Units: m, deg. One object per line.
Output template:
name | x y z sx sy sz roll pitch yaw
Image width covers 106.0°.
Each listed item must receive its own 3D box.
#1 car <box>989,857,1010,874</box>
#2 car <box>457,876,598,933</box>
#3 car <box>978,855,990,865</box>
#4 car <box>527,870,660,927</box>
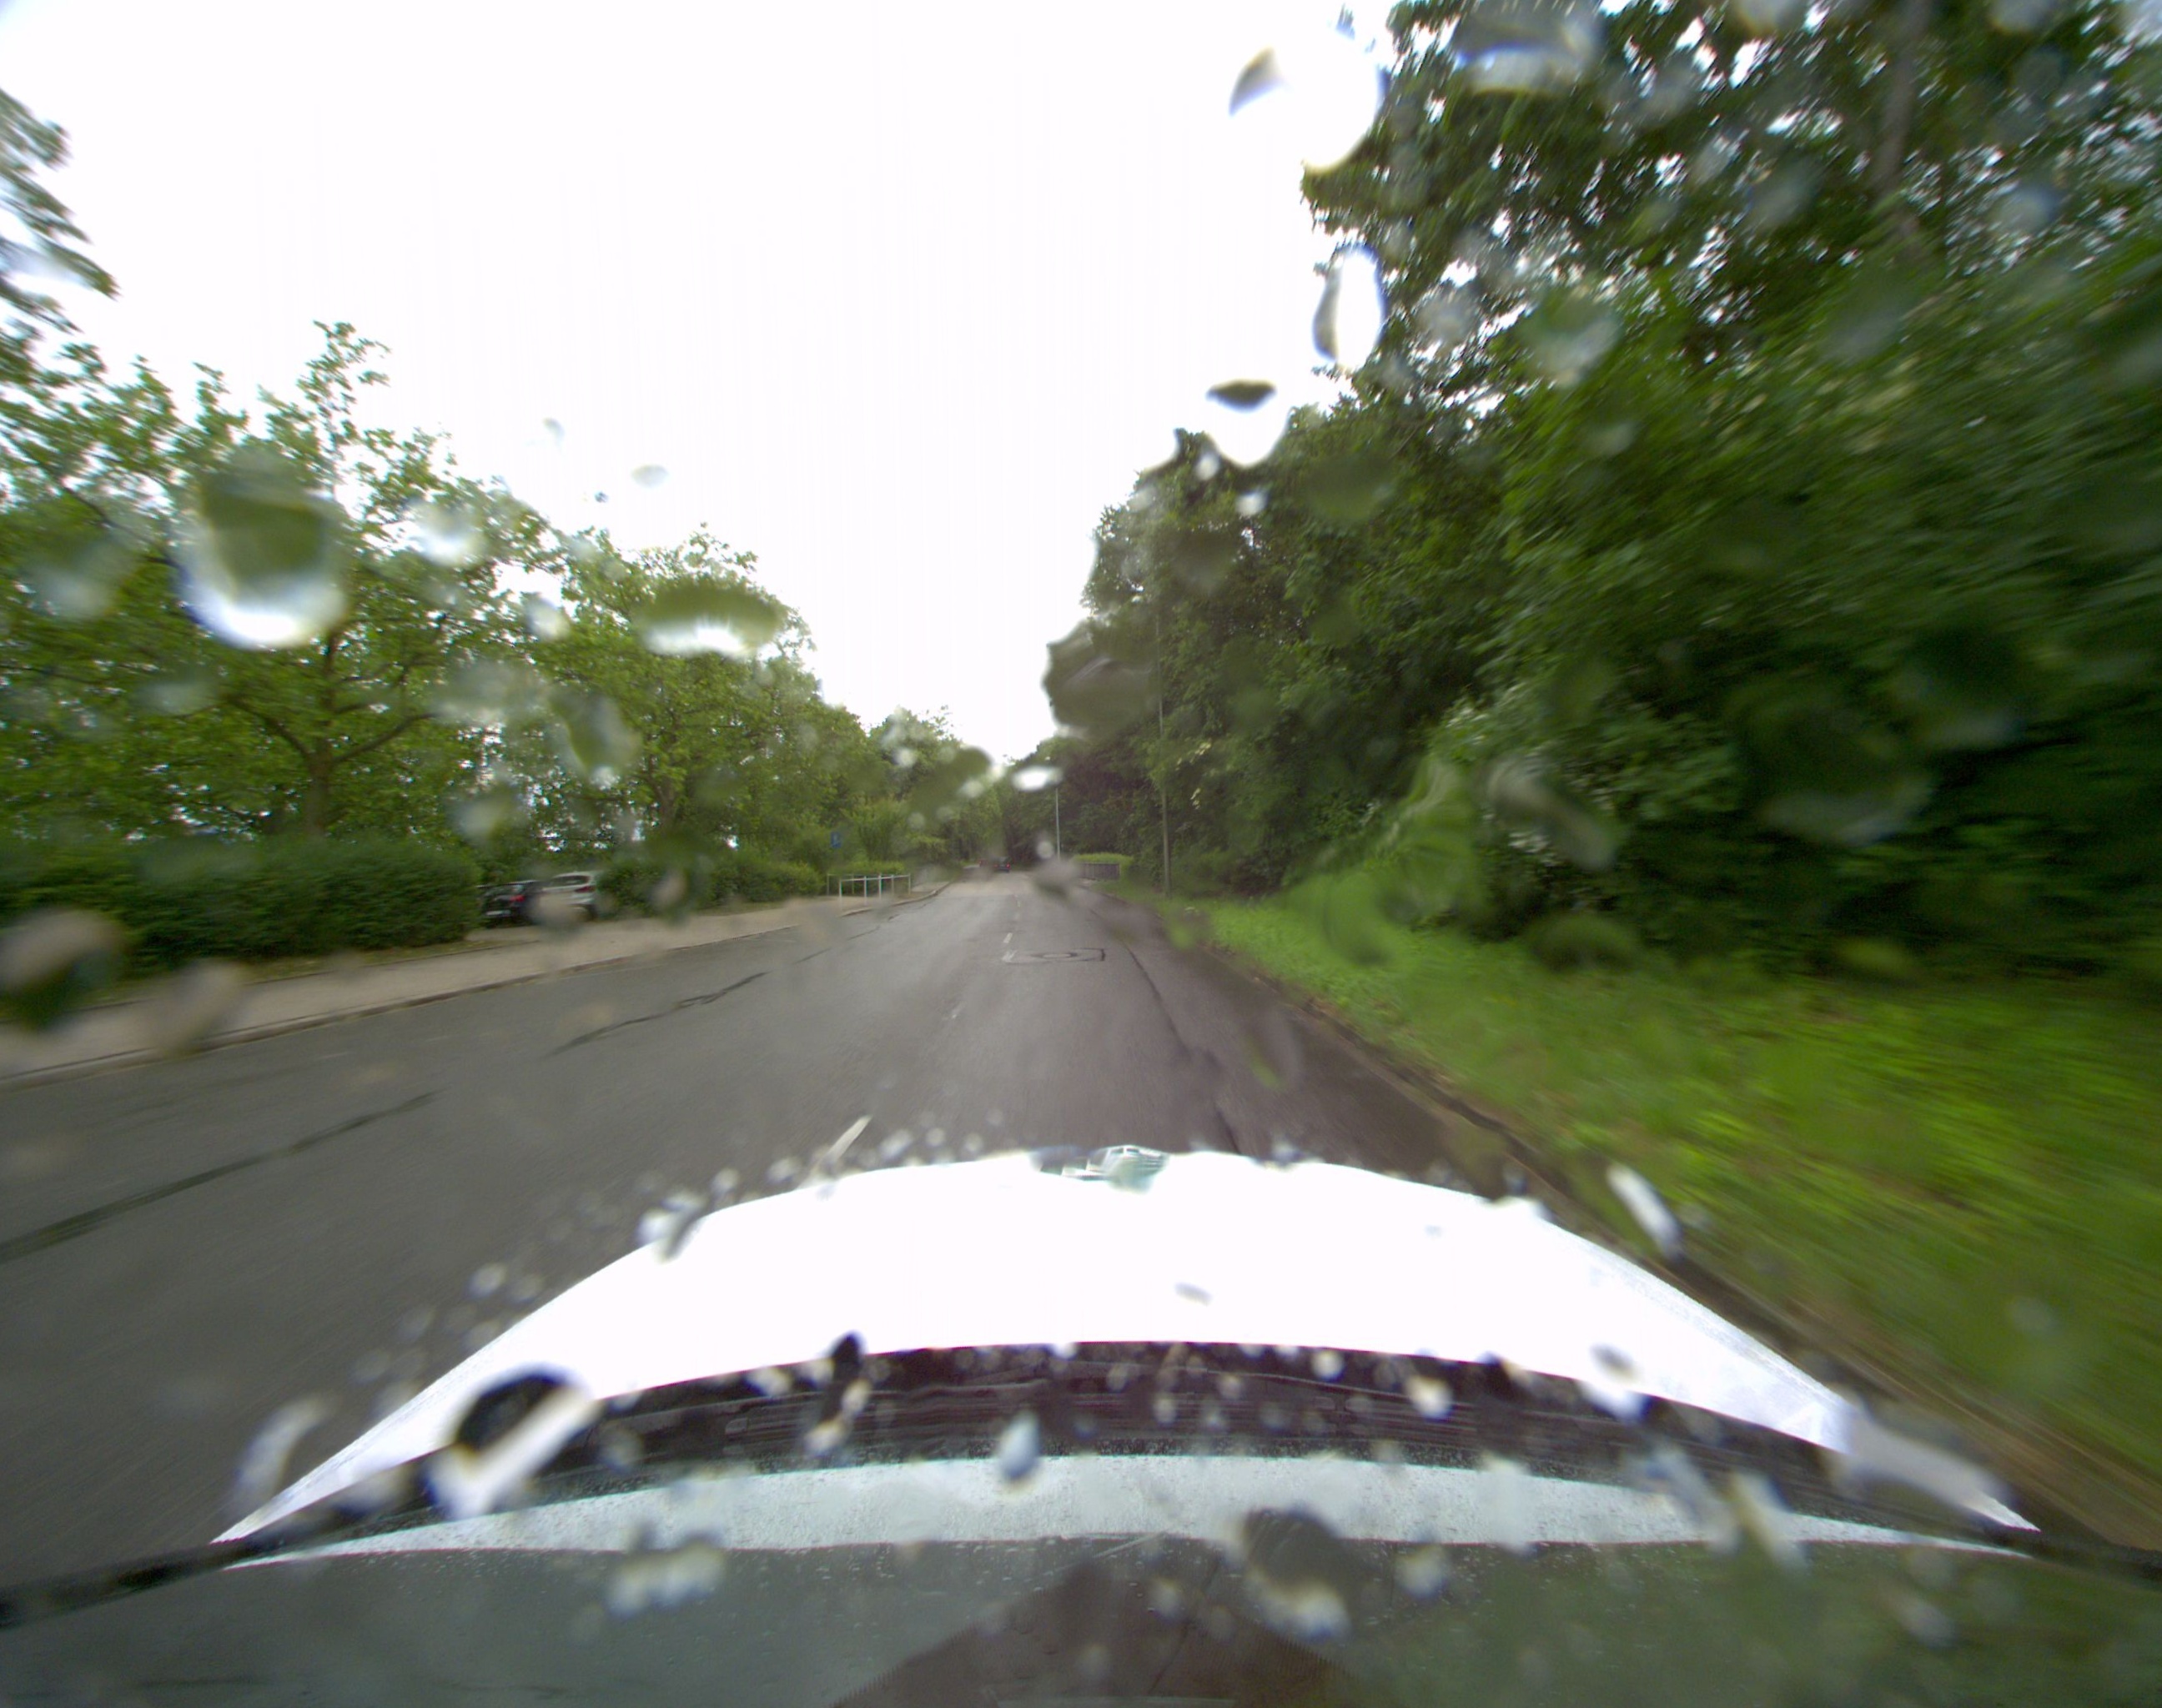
car | -9.709 1.345 96.813 1.987 1.926 3.983 -1 0 -12
car | -18.208 1.595 27.038 1.788 1.510 4.000 -5 0 0
car | -17.954 1.186 150.726 1.992 1.816 3.989 0 -1 -8
car | -15.747 1.390 26.569 1.788 1.510 4.000 -5 0 0
